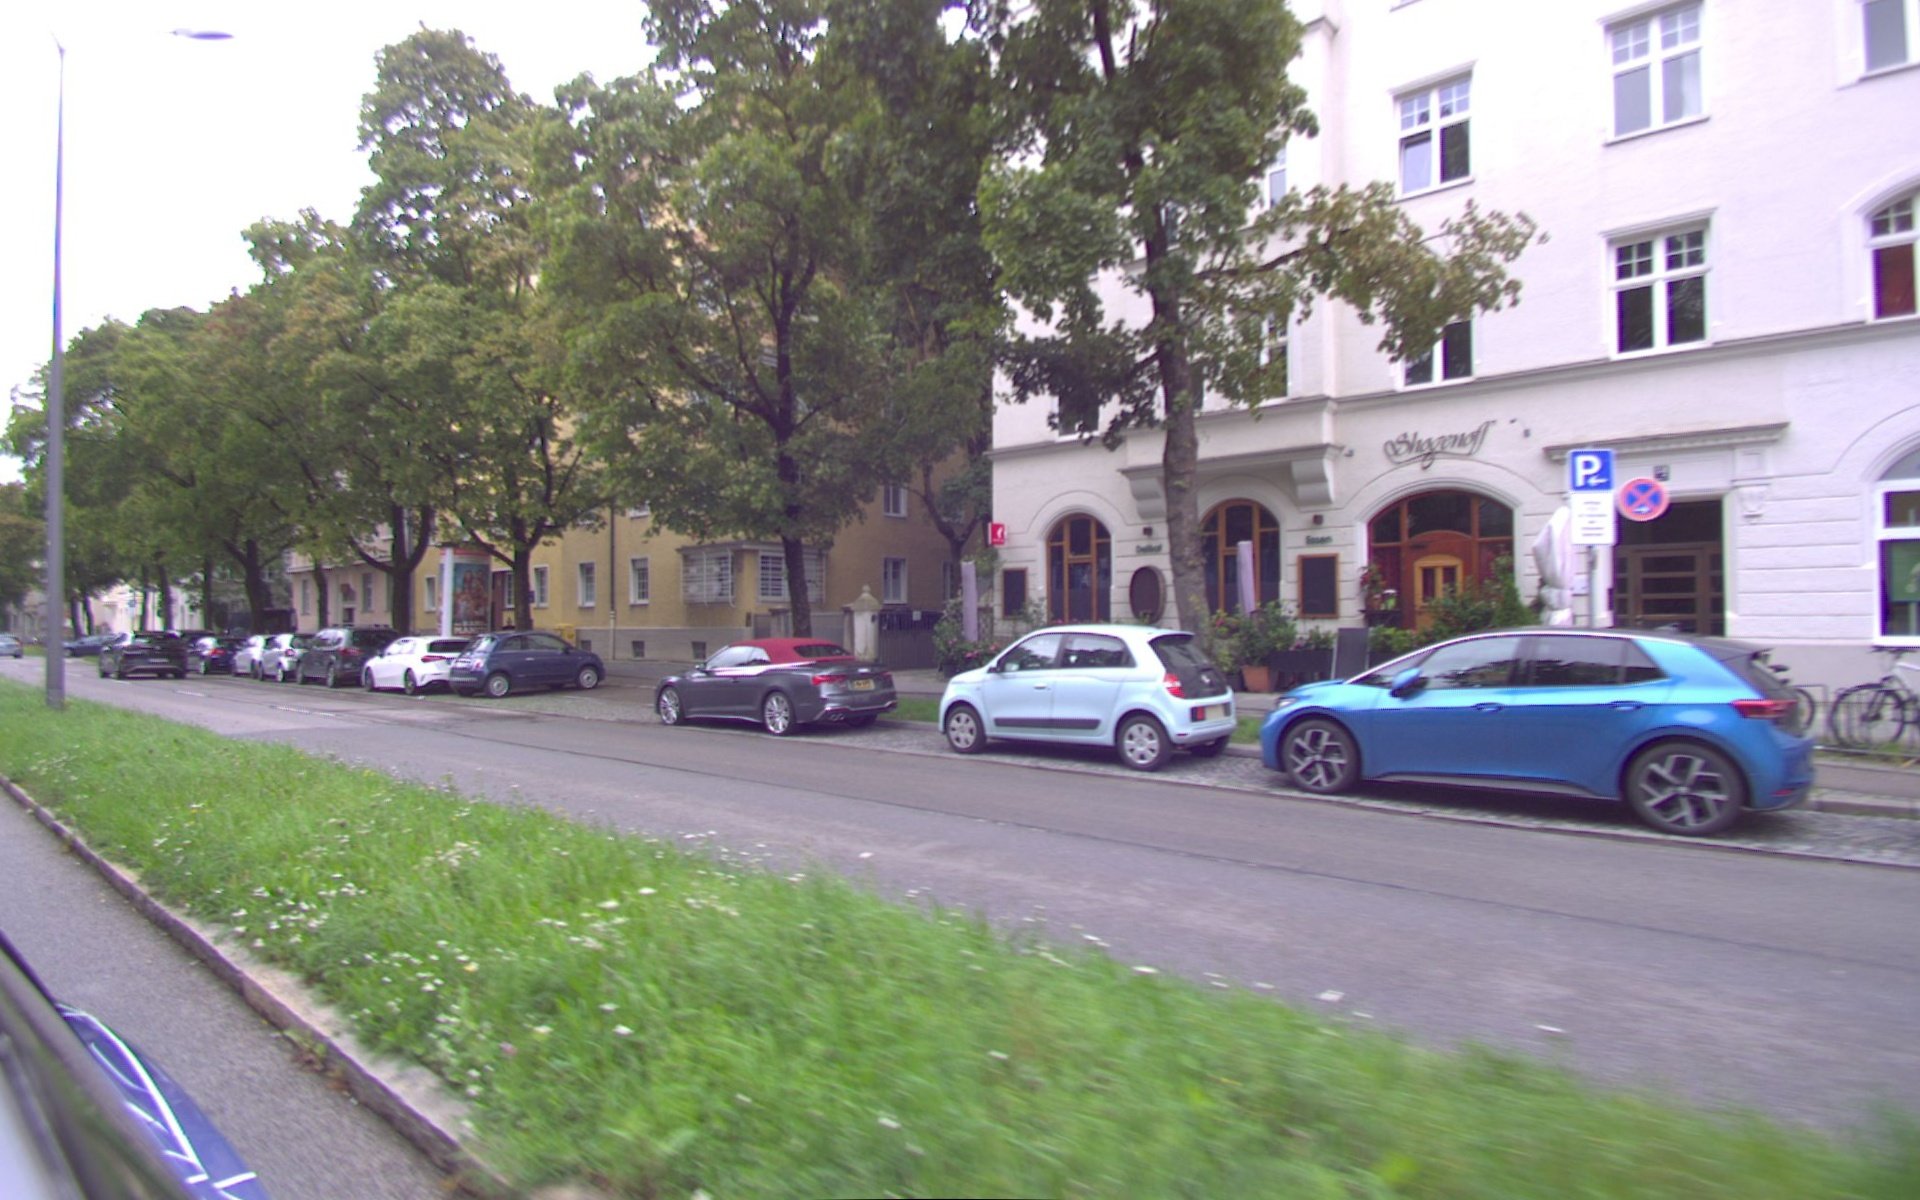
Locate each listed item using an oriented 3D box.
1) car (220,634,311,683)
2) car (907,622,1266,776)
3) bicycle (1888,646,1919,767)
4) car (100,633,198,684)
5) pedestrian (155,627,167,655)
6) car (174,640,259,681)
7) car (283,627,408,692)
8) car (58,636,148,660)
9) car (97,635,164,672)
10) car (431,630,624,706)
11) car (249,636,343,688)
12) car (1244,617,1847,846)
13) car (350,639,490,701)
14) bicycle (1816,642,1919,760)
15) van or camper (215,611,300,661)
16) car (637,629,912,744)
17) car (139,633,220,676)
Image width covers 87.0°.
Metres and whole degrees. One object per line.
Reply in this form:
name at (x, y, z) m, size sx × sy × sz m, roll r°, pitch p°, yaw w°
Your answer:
car at (-24.251, 1.999, 35.285) m, size 4.055 × 1.573 × 1.708 m, roll -2°, pitch -2°, yaw 42°
car at (1.404, 1.059, 12.156) m, size 3.959 × 1.518 × 1.791 m, roll -2°, pitch -2°, yaw 42°
bicycle at (9.993, 0.991, 9.437) m, size 1.967 × 1.124 × 0.503 m, roll -1°, pitch -2°, yaw 10°
car at (-27.207, 1.929, 33.884) m, size 4.620 × 1.597 × 1.855 m, roll -2°, pitch -4°, yaw 43°
pedestrian at (-59.031, 3.018, 74.756) m, size 0.590 × 2.075 × 0.686 m, roll 0°, pitch -2°, yaw -29°
car at (-27.961, 2.219, 38.021) m, size 4.361 × 1.416 × 1.708 m, roll -2°, pitch -2°, yaw 42°
car at (-17.863, 1.672, 29.345) m, size 4.765 × 1.741 × 1.791 m, roll -2°, pitch -2°, yaw 42°
car at (-53.644, 2.989, 63.433) m, size 3.930 × 1.386 × 1.868 m, roll -1°, pitch -2°, yaw -23°
car at (-40.558, 2.575, 49.443) m, size 4.437 × 1.700 × 1.854 m, roll -2°, pitch -2°, yaw 42°
car at (-10.233, 1.554, 24.128) m, size 1.731 × 1.475 × 3.850 m, roll -2°, pitch 0°, yaw 40°
car at (-21.227, 1.941, 32.320) m, size 3.007 × 1.569 × 1.709 m, roll -2°, pitch -2°, yaw 40°
car at (4.913, 0.949, 8.895) m, size 4.289 × 1.518 × 1.791 m, roll -2°, pitch -2°, yaw 42°
car at (-13.652, 1.698, 25.494) m, size 4.402 × 1.413 × 1.708 m, roll -2°, pitch -2°, yaw 42°
bicycle at (9.682, 0.980, 9.937) m, size 1.945 × 1.124 × 0.457 m, roll -1°, pitch -2°, yaw 10°
van or camper at (-38.714, 1.984, 55.702) m, size 6.848 × 2.599 × 2.321 m, roll -2°, pitch -2°, yaw 42°
car at (-3.035, 1.245, 15.899) m, size 4.644 × 1.518 × 1.791 m, roll -2°, pitch -2°, yaw 42°
car at (-32.476, 2.236, 42.065) m, size 4.768 × 1.658 × 1.859 m, roll -2°, pitch -2°, yaw 42°
